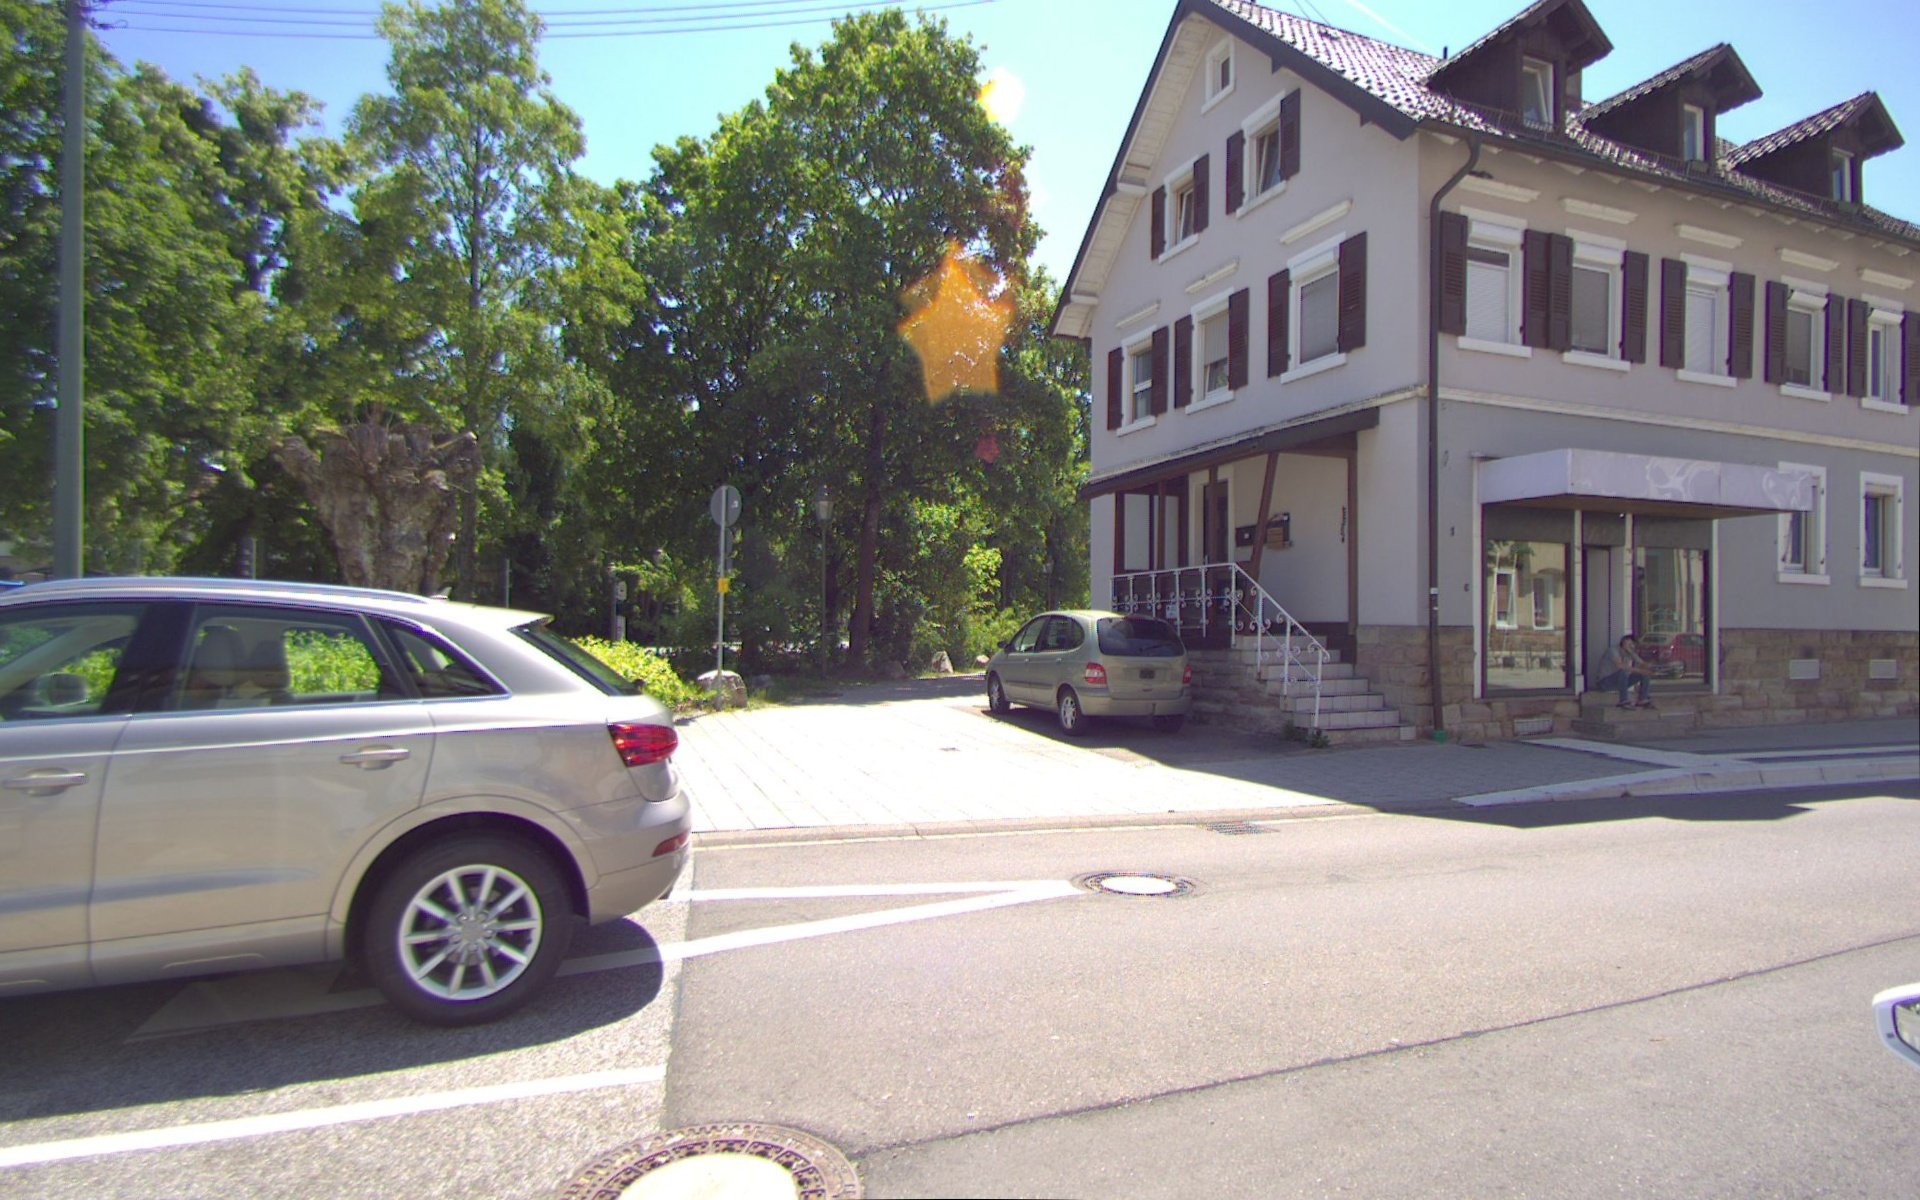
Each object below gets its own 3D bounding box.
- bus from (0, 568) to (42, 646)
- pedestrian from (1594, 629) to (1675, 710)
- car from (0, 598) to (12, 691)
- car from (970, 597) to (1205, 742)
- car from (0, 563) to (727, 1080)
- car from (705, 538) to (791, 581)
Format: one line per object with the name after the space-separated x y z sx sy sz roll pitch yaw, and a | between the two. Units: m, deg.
-38.931 0.114 35.293 3.665 3.213 17.975 3 -2 -22 | bus
9.320 0.948 13.883 0.690 1.068 0.668 1 0 -25 | pedestrian
-17.677 0.736 16.376 3.031 1.573 1.617 1 0 -37 | car
1.678 0.855 14.587 1.731 1.662 3.980 -1 2 -21 | car
-3.082 0.711 3.899 4.025 1.563 1.671 1 -3 -23 | car
-10.818 -2.060 51.455 3.920 2.040 2.001 1 0 2 | car
